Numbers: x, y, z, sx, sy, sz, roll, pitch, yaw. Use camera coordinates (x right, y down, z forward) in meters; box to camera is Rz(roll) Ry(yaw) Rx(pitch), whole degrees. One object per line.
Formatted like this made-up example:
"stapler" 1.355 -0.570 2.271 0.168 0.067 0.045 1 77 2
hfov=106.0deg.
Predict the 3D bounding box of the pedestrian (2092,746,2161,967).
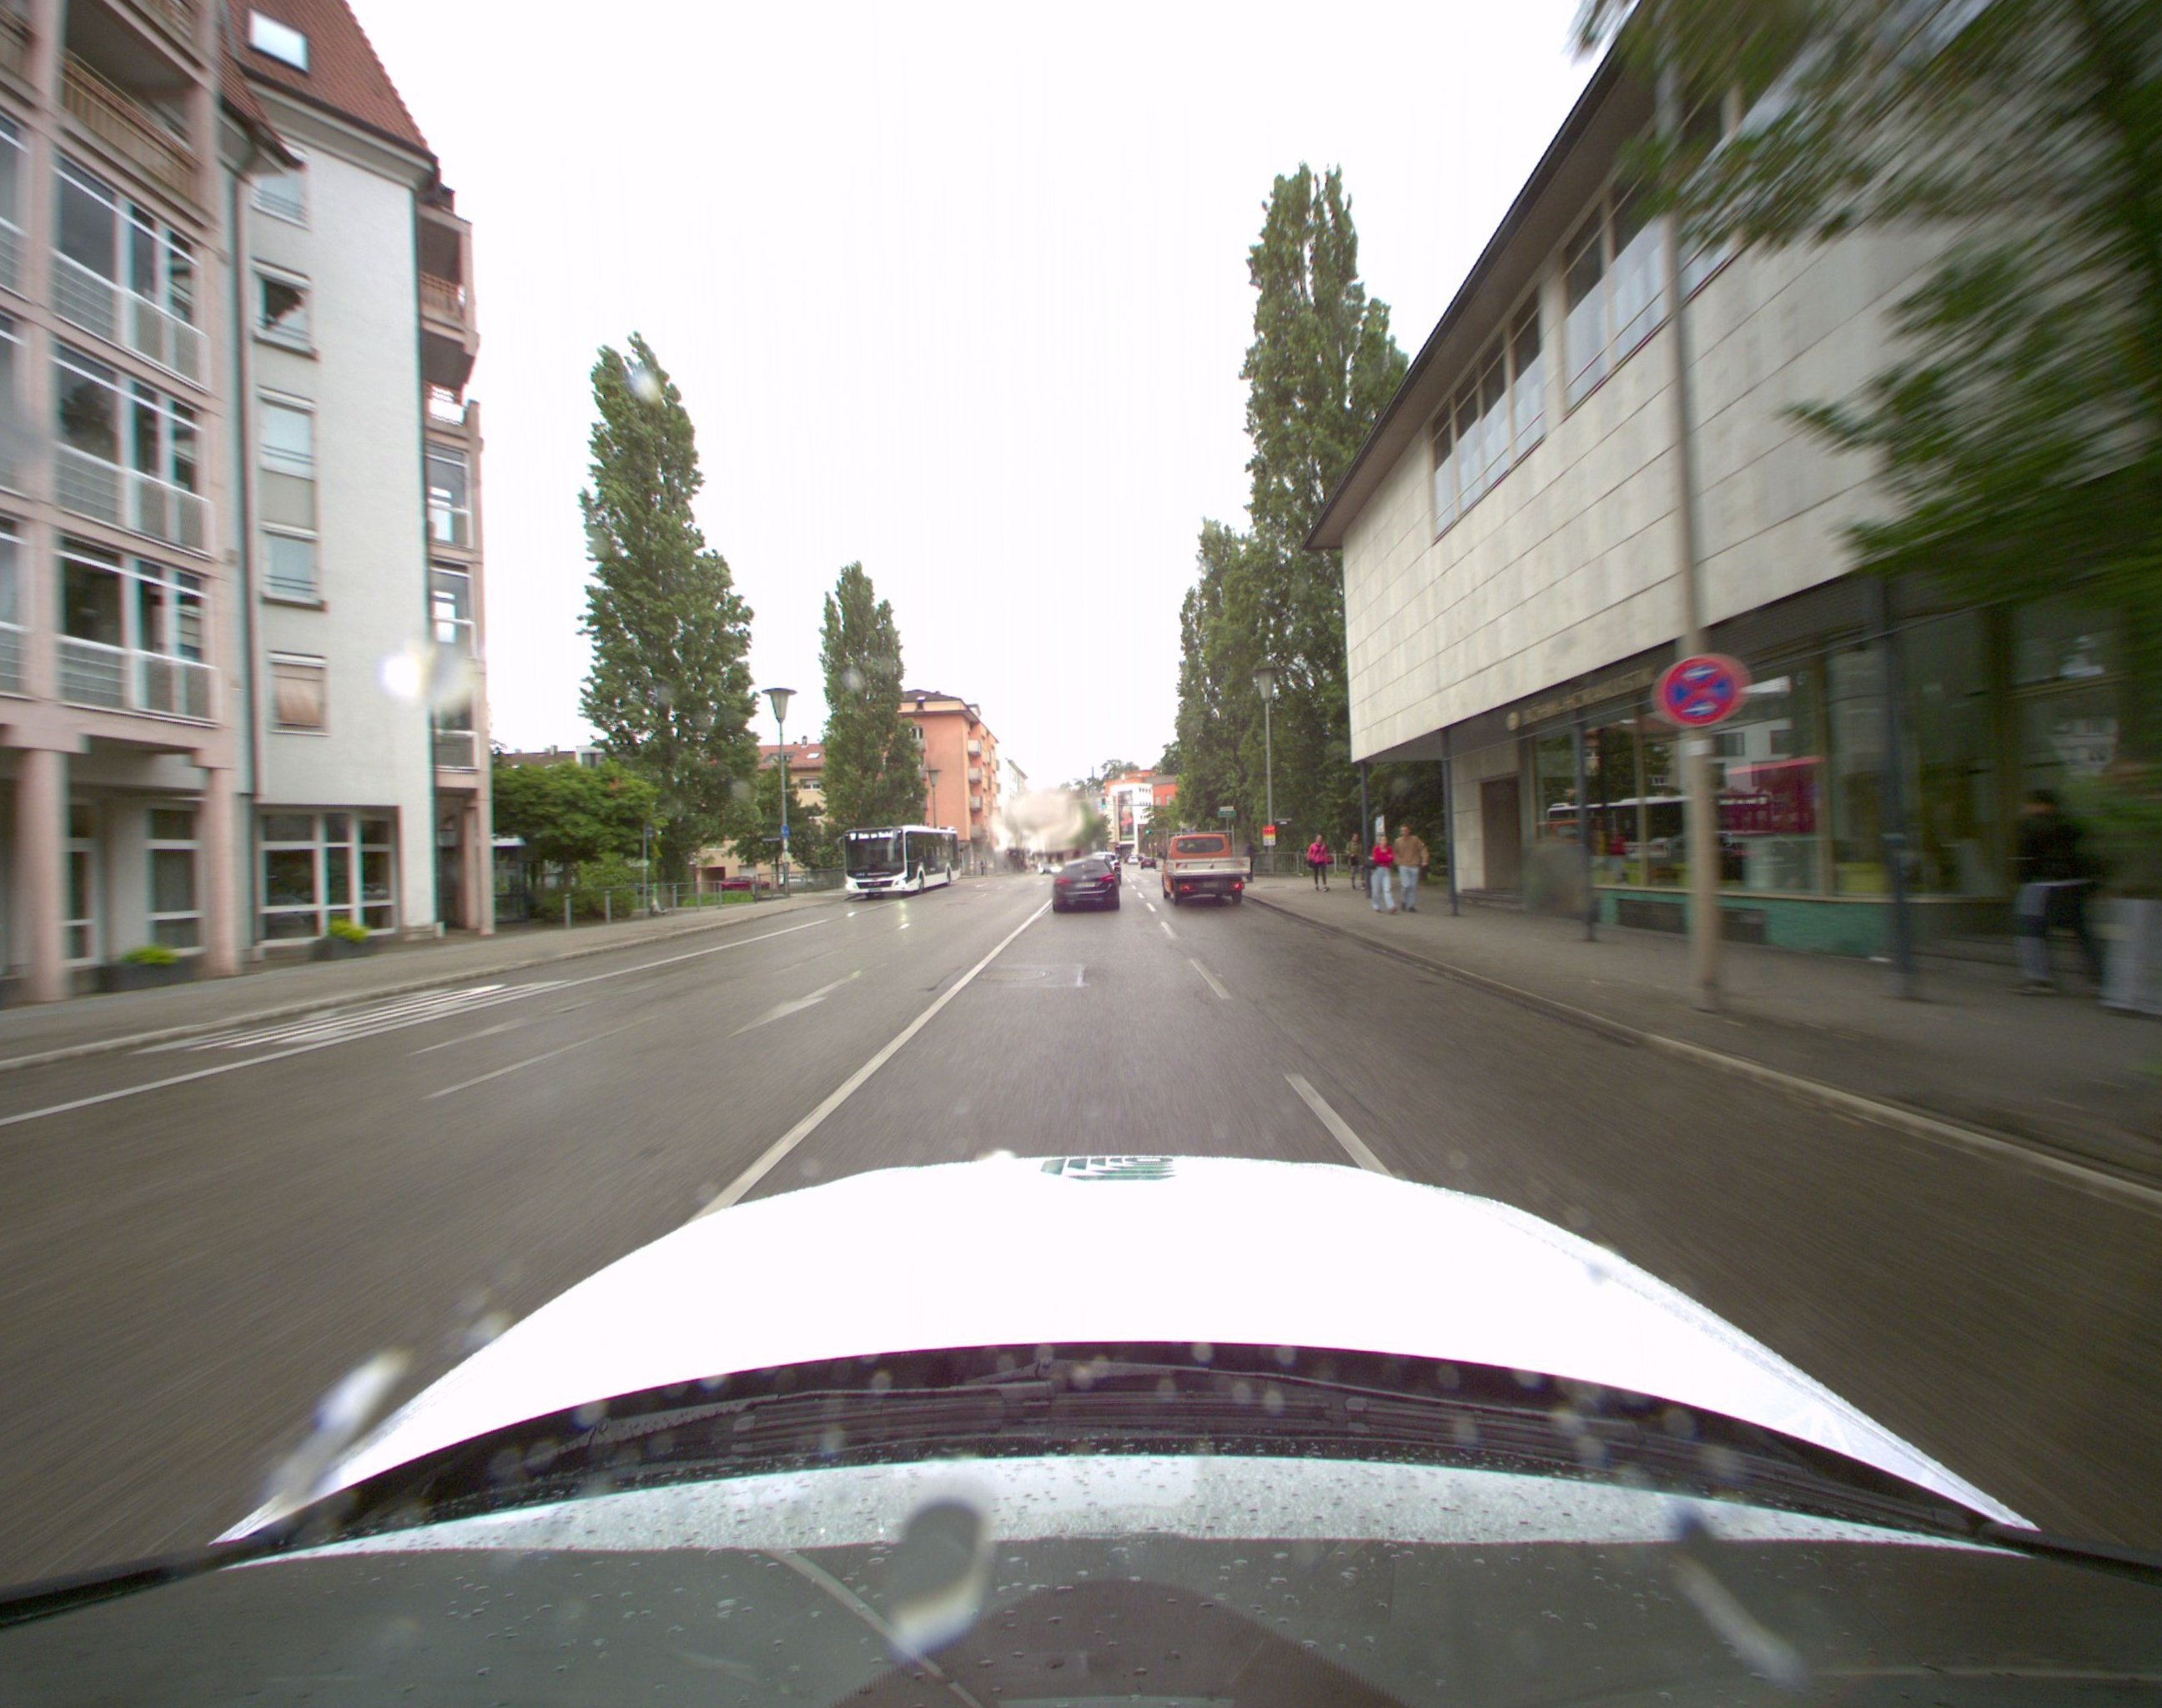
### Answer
"pedestrian" 8.670 0.010 6.471 0.533 1.719 0.536 -3 0 11

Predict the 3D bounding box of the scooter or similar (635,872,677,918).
"scooter or similar" -13.651 1.307 26.195 0.480 1.313 1.571 -3 2 -2

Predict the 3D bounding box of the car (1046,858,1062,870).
"car" -3.615 1.310 110.578 1.829 1.510 4.822 -2 0 2

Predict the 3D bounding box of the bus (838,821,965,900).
"bus" -8.085 0.122 38.817 2.733 3.075 12.245 -2 1 2

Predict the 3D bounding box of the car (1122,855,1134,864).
"car" 8.628 0.961 150.735 1.642 1.564 3.592 1 -3 -6

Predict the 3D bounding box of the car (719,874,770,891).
"car" -32.075 2.735 77.737 3.971 1.388 1.900 -2 0 2

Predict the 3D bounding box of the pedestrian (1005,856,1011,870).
"pedestrian" -9.732 1.161 108.390 0.637 1.861 0.523 -1 0 0

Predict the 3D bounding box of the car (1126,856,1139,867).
"car" 8.900 1.238 140.515 1.986 1.821 4.001 -1 0 1

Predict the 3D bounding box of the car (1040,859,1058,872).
"car" -3.705 1.321 94.796 1.785 1.325 4.407 -2 0 1

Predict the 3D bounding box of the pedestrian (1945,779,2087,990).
"pedestrian" 7.980 0.253 6.973 0.533 1.719 0.536 -3 0 10

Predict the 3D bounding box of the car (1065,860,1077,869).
"car" -1.649 1.801 135.619 1.659 1.399 3.877 -3 0 1

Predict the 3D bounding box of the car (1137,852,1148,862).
"car" 11.902 0.610 158.036 1.986 1.821 4.001 -3 0 1

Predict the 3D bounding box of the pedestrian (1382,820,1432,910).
"pedestrian" 6.789 0.230 16.980 0.695 1.801 0.607 -4 0 1

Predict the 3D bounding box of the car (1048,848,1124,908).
"car" 0.227 0.635 22.526 1.786 1.483 4.005 -1 -1 5

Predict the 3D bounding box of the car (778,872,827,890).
"car" -26.612 2.596 77.842 3.971 1.387 1.900 -3 0 2

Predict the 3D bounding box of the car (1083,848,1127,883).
"car" 1.173 0.504 38.066 1.787 1.483 4.004 -2 0 4

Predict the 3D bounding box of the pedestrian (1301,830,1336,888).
"pedestrian" 6.974 0.146 23.921 0.714 1.620 0.769 -4 0 1

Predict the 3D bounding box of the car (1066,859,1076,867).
"car" -1.929 1.689 151.466 1.661 1.399 3.872 -3 0 -3

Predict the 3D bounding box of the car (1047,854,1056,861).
"car" -5.859 0.704 161.748 1.659 1.399 3.877 -3 0 1

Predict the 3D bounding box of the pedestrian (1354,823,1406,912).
"pedestrian" 6.250 0.276 17.053 0.651 1.767 0.923 -4 0 1

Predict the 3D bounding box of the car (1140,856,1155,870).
"car" 8.081 1.117 99.446 1.638 1.564 3.601 1 -2 2

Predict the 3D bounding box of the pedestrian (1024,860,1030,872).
"pedestrian" -9.061 2.080 136.367 0.731 2.014 0.651 2 -3 -32

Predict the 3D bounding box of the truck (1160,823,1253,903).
"truck" 3.456 0.232 23.295 2.113 2.025 4.718 -1 0 2

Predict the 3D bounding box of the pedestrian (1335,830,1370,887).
"pedestrian" 7.807 0.132 23.428 0.723 1.589 0.607 -4 0 1

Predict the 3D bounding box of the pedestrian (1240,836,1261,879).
"pedestrian" 6.665 0.135 32.029 0.637 1.664 0.563 -3 1 0

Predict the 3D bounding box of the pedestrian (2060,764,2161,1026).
"pedestrian" 7.725 0.276 5.905 0.533 1.820 0.536 -3 0 10

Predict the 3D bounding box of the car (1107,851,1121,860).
"car" 6.441 0.357 159.123 1.991 1.684 3.991 -2 0 -6

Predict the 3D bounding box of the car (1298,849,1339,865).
"car" 27.170 0.339 93.079 4.111 1.621 1.804 -2 0 -3

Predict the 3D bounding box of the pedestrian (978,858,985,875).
"pedestrian" -9.805 1.224 80.278 0.528 1.727 0.649 -2 0 5

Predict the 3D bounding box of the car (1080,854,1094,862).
"car" 1.184 0.814 167.073 1.652 1.564 3.572 2 -3 -23
